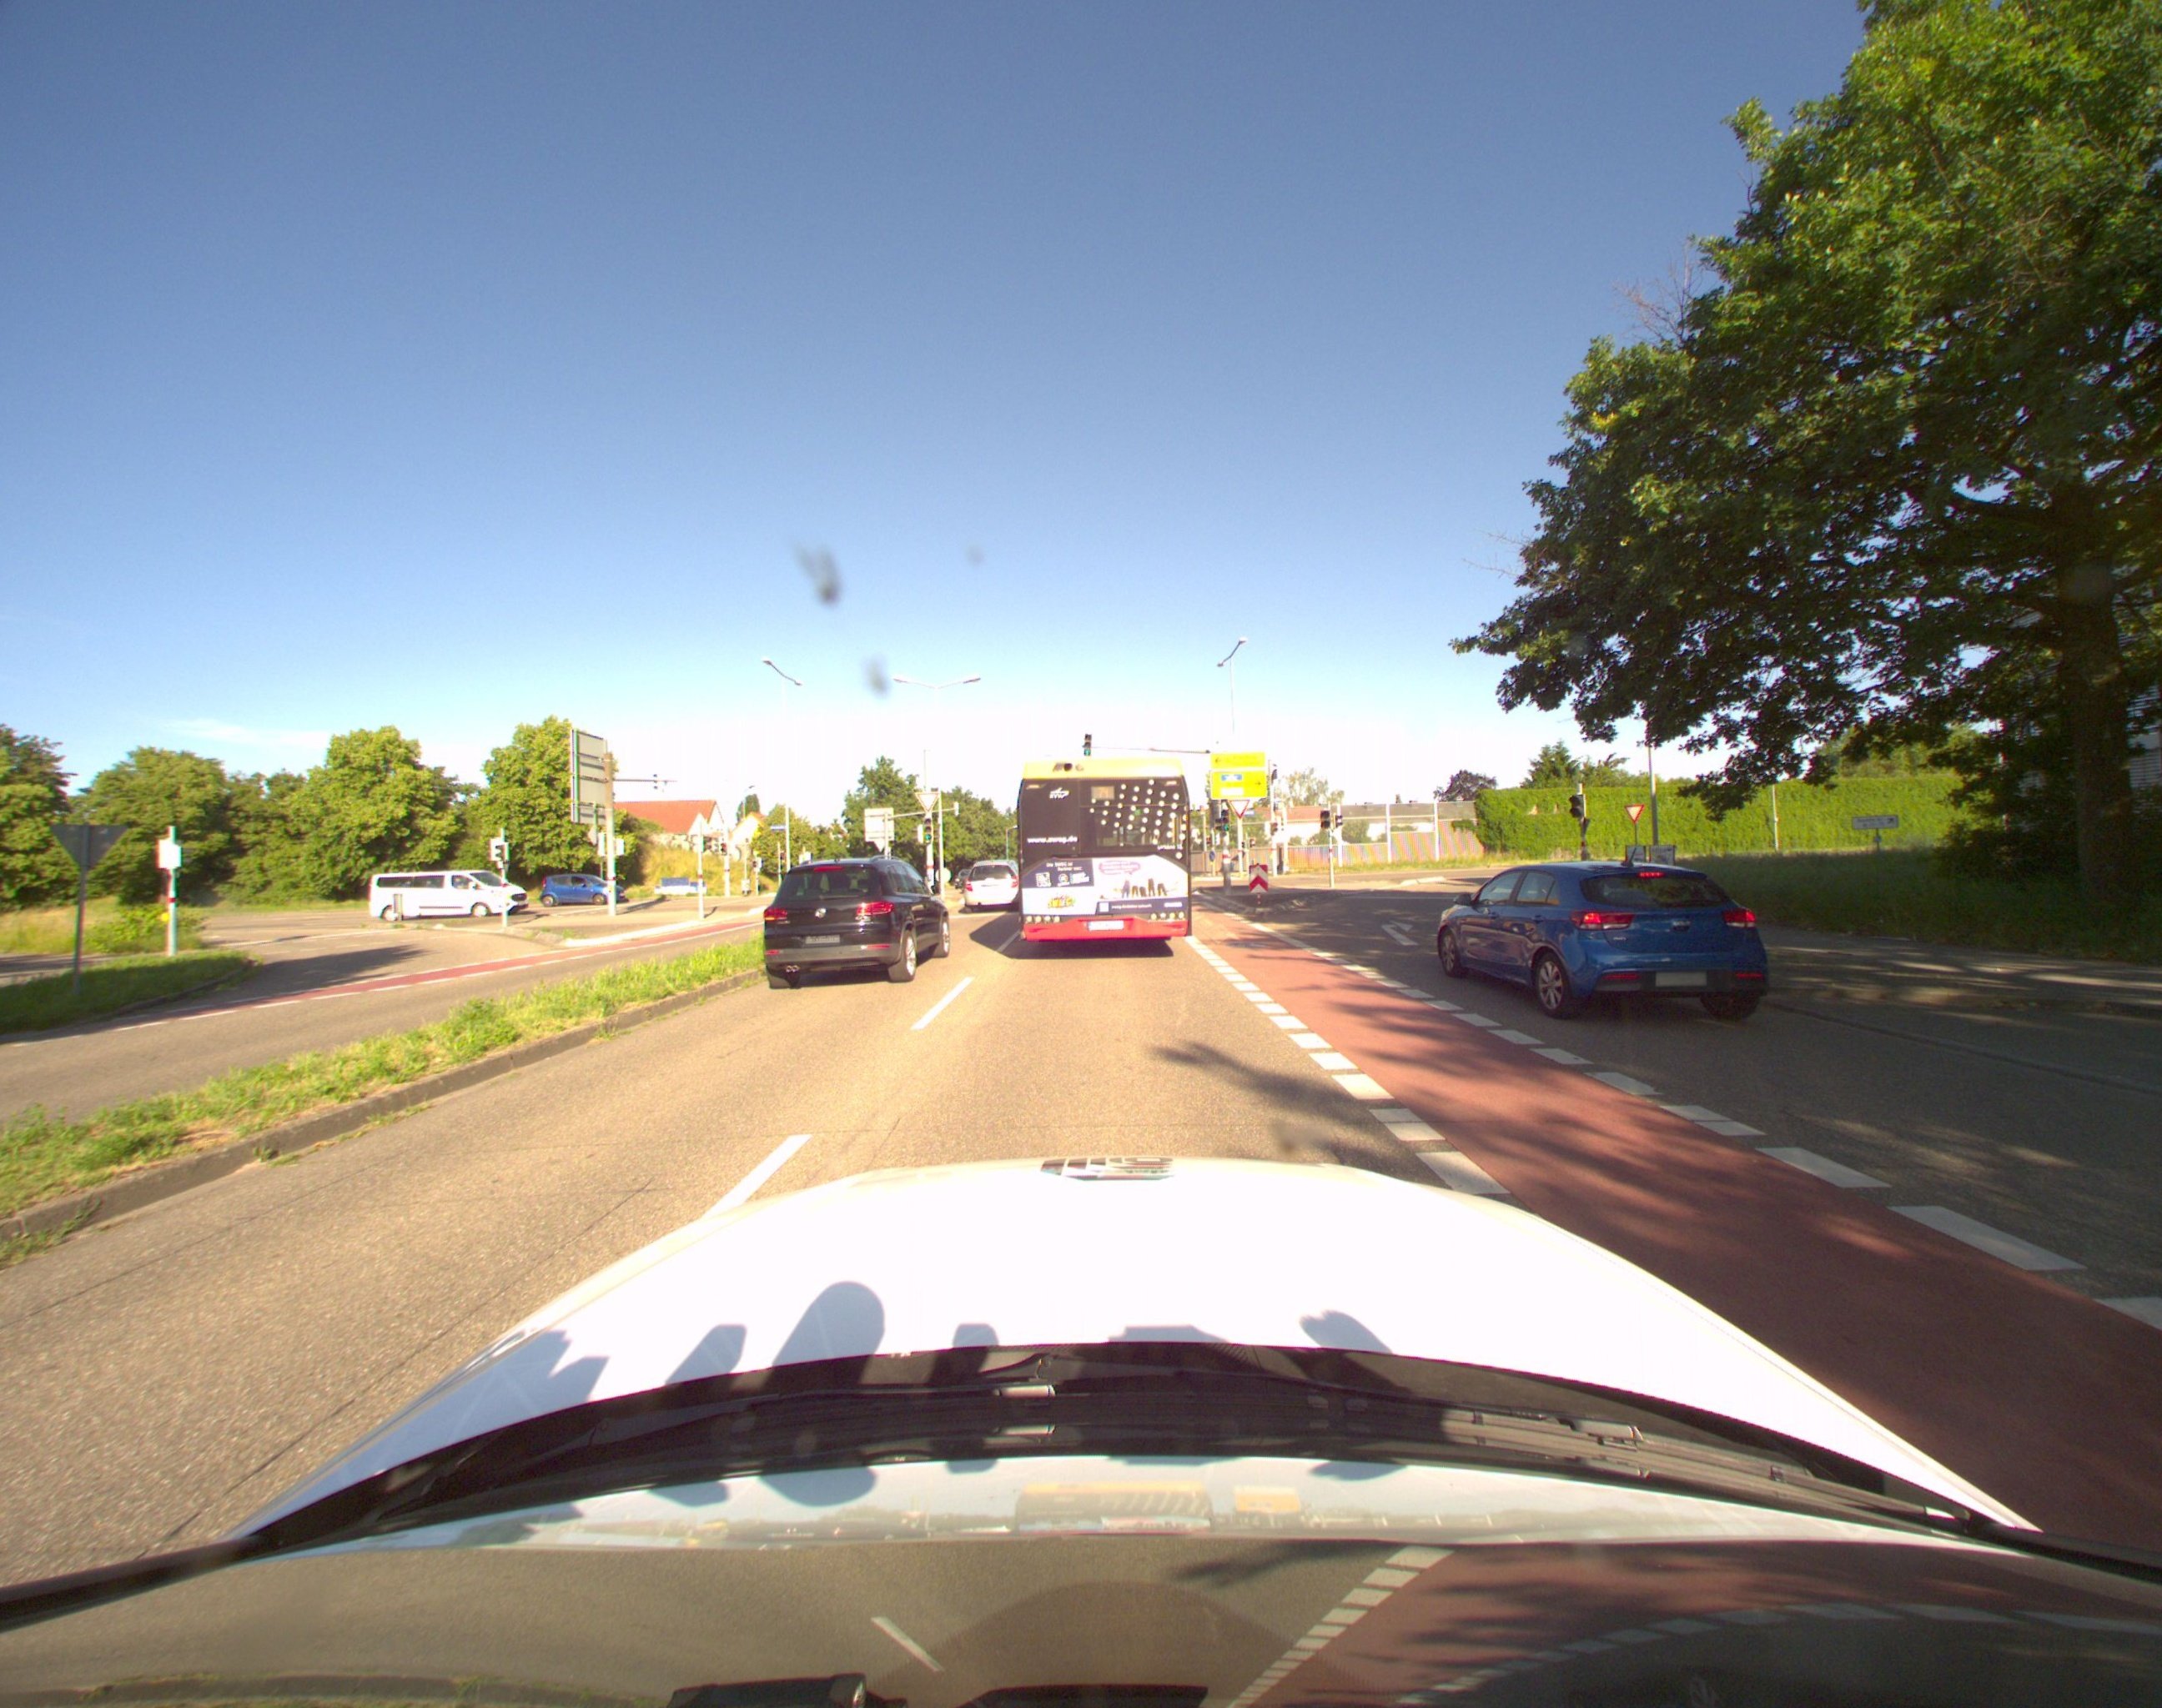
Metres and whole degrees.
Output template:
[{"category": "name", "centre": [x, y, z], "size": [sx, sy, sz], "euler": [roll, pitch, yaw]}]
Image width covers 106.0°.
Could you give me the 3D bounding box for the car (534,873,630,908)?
[{"category": "car", "centre": [-24.634, 1.794, 40.277], "size": [3.577, 1.561, 1.747], "euler": [-2, -1, -5]}]

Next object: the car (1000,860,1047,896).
[{"category": "car", "centre": [-2.535, 1.044, 36.805], "size": [1.686, 1.458, 3.751], "euler": [-3, -1, 1]}]

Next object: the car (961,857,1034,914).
[{"category": "car", "centre": [-2.586, 0.944, 26.073], "size": [1.755, 1.589, 4.001], "euler": [-3, -1, 1]}]

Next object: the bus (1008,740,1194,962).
[{"category": "bus", "centre": [0.520, -0.030, 17.680], "size": [2.632, 3.167, 11.867], "euler": [-1, 0, 2]}]

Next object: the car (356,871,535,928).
[{"category": "car", "centre": [-25.690, 1.796, 33.104], "size": [5.375, 2.118, 2.178], "euler": [-1, -1, -4]}]

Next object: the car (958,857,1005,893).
[{"category": "car", "centre": [-4.899, 1.024, 39.759], "size": [1.704, 1.558, 3.721], "euler": [-3, -1, -15]}]

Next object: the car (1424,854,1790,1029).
[{"category": "car", "centre": [5.254, 0.756, 8.837], "size": [1.642, 1.468, 3.945], "euler": [-1, 0, 4]}]

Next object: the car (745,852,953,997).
[{"category": "car", "centre": [-3.124, 0.873, 11.852], "size": [1.766, 1.653, 4.000], "euler": [-3, -1, 0]}]
